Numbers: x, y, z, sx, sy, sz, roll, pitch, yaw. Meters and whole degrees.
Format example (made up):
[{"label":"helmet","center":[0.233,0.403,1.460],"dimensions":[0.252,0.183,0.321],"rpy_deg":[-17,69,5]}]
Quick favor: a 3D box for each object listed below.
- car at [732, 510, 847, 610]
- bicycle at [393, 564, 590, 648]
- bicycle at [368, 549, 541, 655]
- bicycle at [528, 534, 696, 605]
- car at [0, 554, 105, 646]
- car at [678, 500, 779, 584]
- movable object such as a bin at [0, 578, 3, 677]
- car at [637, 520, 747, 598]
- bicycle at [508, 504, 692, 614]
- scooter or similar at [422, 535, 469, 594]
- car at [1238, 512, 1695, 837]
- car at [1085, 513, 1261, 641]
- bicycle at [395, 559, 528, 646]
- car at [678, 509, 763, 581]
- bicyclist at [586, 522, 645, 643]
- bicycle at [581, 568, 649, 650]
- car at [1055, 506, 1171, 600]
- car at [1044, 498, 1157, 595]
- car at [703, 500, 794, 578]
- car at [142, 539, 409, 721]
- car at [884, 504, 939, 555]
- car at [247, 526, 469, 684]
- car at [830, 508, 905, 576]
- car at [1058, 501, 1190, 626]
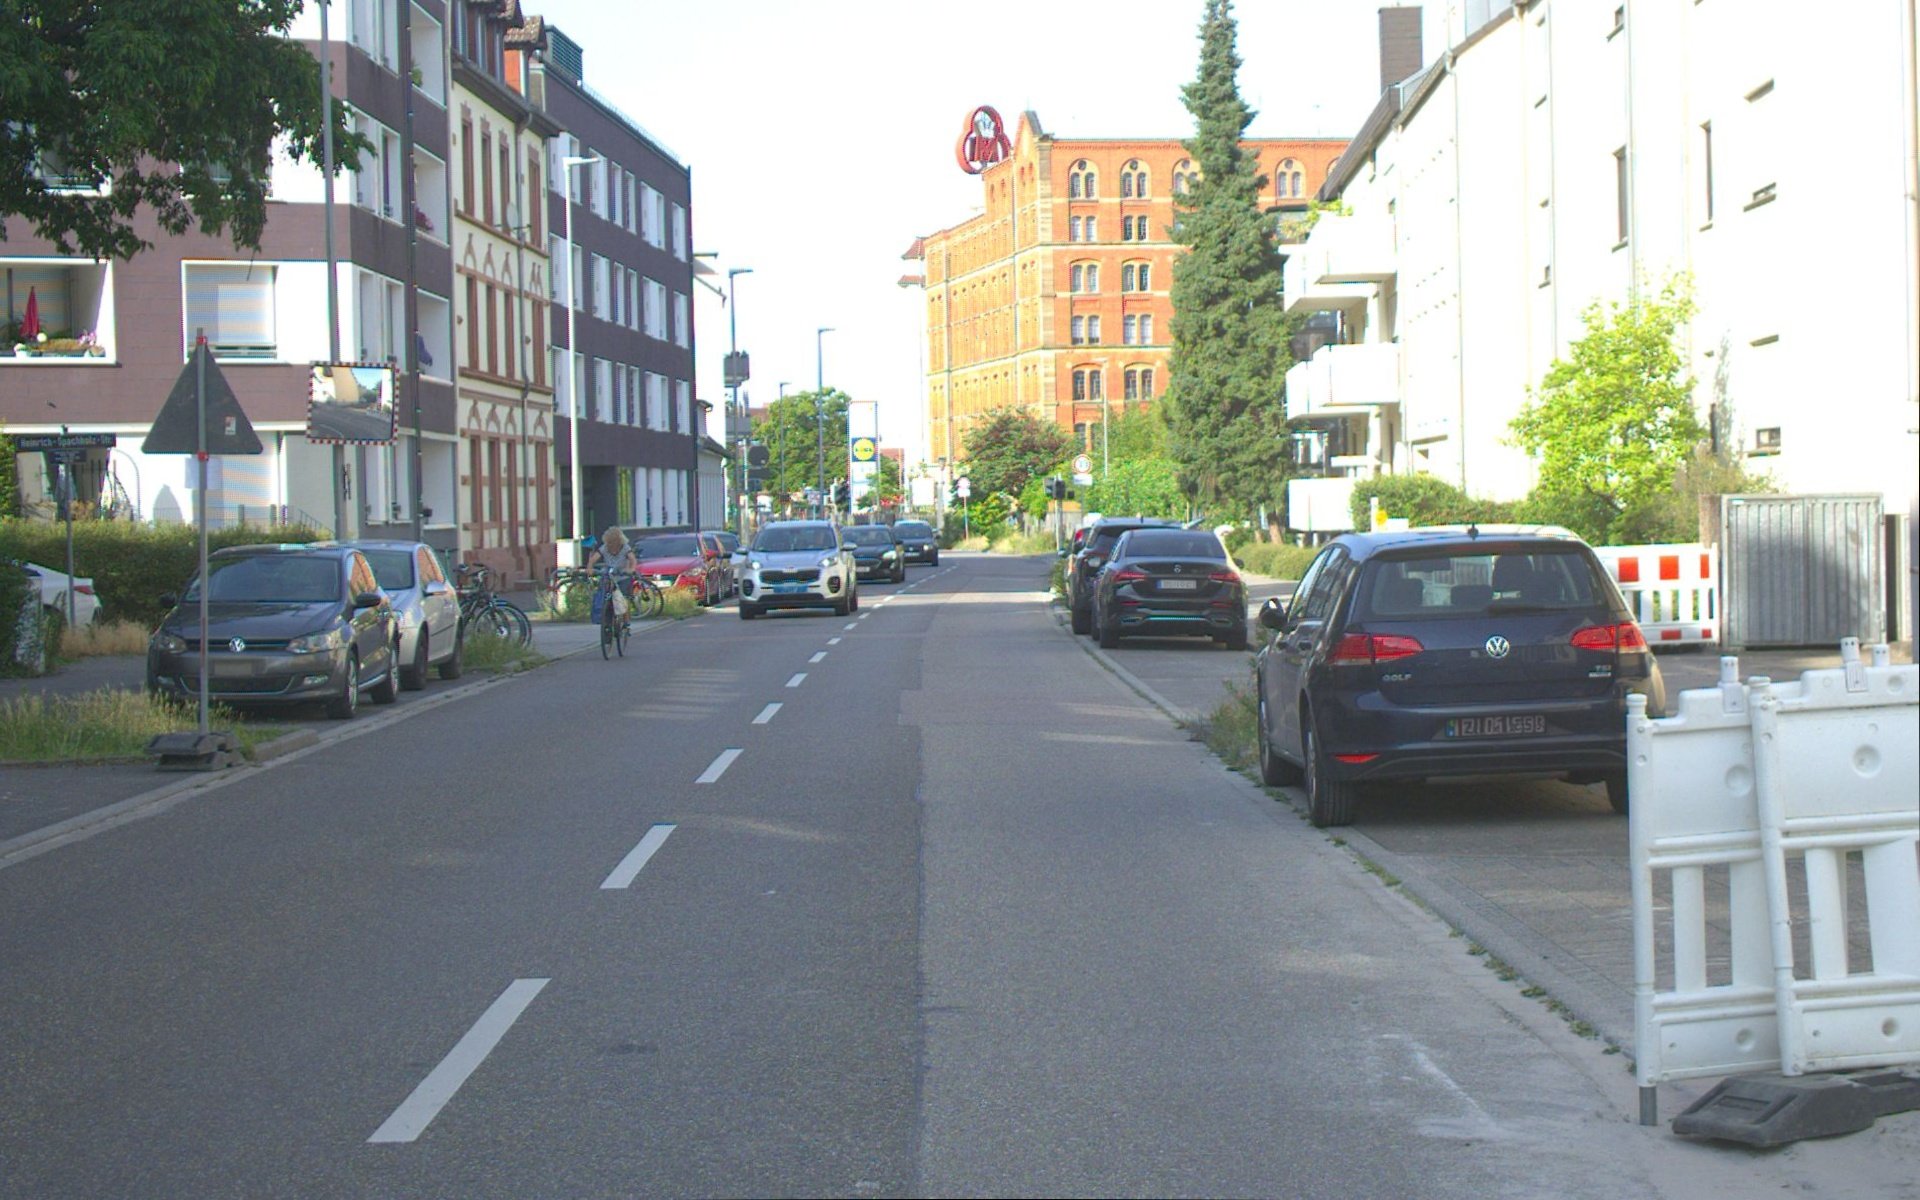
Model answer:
[{"label":"car","center":[-2.903,-0.708,59.112],"dimensions":[1.763,1.610,4.000],"rpy_deg":[-2,1,0]},{"label":"bicycle","center":[-5.726,0.072,42.133],"dimensions":[2.339,0.967,0.708],"rpy_deg":[-1,1,-5]},{"label":"bicycle","center":[-6.056,0.014,41.256],"dimensions":[2.000,1.213,0.708],"rpy_deg":[-1,1,-5]},{"label":"bicycle","center":[-6.044,-0.535,59.857],"dimensions":[2.773,1.140,1.143],"rpy_deg":[-1,1,1]},{"label":"car","center":[-14.374,0.014,49.862],"dimensions":[3.447,1.284,1.664],"rpy_deg":[-2,2,-32]},{"label":"car","center":[-5.261,-1.338,78.561],"dimensions":[1.993,1.829,3.689],"rpy_deg":[-1,1,1]},{"label":"movable object such as a bin","center":[-10.415,0.288,35.595],"dimensions":[0.752,1.036,0.816],"rpy_deg":[2,1,0]},{"label":"car","center":[-5.247,-0.834,67.665],"dimensions":[1.840,1.459,3.585],"rpy_deg":[-1,1,0]},{"label":"bicycle","center":[-6.046,-0.699,57.937],"dimensions":[2.918,1.771,1.202],"rpy_deg":[-1,1,1]},{"label":"scooter or similar","center":[-9.859,-0.679,65.937],"dimensions":[0.633,1.100,1.610],"rpy_deg":[1,1,0]},{"label":"car","center":[2.549,0.300,18.176],"dimensions":[1.830,1.477,3.943],"rpy_deg":[-2,1,1]},{"label":"car","center":[2.590,-0.318,42.672],"dimensions":[1.859,1.467,4.000],"rpy_deg":[-1,1,-1]},{"label":"bicycle","center":[-6.203,0.028,42.847],"dimensions":[1.584,1.037,0.708],"rpy_deg":[-1,1,-5]},{"label":"car","center":[-6.537,-1.525,94.197],"dimensions":[1.993,1.875,4.000],"rpy_deg":[-1,1,0]},{"label":"bicyclist","center":[-4.195,-0.220,41.891],"dimensions":[0.591,1.437,0.750],"rpy_deg":[-1,1,1]},{"label":"bicycle","center":[-4.189,0.104,41.828],"dimensions":[0.608,0.939,1.811],"rpy_deg":[-1,1,1]},{"label":"car","center":[2.633,-0.836,59.871],"dimensions":[1.763,1.521,4.000],"rpy_deg":[-2,1,0]},{"label":"car","center":[2.623,-1.029,65.017],"dimensions":[1.993,1.766,4.000],"rpy_deg":[-1,1,0]},{"label":"car","center":[-5.363,-1.565,87.755],"dimensions":[1.993,1.901,4.000],"rpy_deg":[-1,1,1]},{"label":"car","center":[-5.802,0.207,29.510],"dimensions":[1.573,1.415,3.804],"rpy_deg":[0,1,-1]},{"label":"car","center":[-1.626,-2.383,115.954],"dimensions":[1.763,1.610,4.000],"rpy_deg":[-2,1,0]},{"label":"car","center":[-6.109,0.007,35.261],"dimensions":[1.676,1.496,4.001],"rpy_deg":[-1,1,-2]},{"label":"car","center":[-2.304,-1.473,86.188],"dimensions":[1.763,1.610,4.000],"rpy_deg":[-2,1,0]},{"label":"car","center":[2.256,-0.535,47.974],"dimensions":[1.601,1.640,3.685],"rpy_deg":[-1,1,0]}]
